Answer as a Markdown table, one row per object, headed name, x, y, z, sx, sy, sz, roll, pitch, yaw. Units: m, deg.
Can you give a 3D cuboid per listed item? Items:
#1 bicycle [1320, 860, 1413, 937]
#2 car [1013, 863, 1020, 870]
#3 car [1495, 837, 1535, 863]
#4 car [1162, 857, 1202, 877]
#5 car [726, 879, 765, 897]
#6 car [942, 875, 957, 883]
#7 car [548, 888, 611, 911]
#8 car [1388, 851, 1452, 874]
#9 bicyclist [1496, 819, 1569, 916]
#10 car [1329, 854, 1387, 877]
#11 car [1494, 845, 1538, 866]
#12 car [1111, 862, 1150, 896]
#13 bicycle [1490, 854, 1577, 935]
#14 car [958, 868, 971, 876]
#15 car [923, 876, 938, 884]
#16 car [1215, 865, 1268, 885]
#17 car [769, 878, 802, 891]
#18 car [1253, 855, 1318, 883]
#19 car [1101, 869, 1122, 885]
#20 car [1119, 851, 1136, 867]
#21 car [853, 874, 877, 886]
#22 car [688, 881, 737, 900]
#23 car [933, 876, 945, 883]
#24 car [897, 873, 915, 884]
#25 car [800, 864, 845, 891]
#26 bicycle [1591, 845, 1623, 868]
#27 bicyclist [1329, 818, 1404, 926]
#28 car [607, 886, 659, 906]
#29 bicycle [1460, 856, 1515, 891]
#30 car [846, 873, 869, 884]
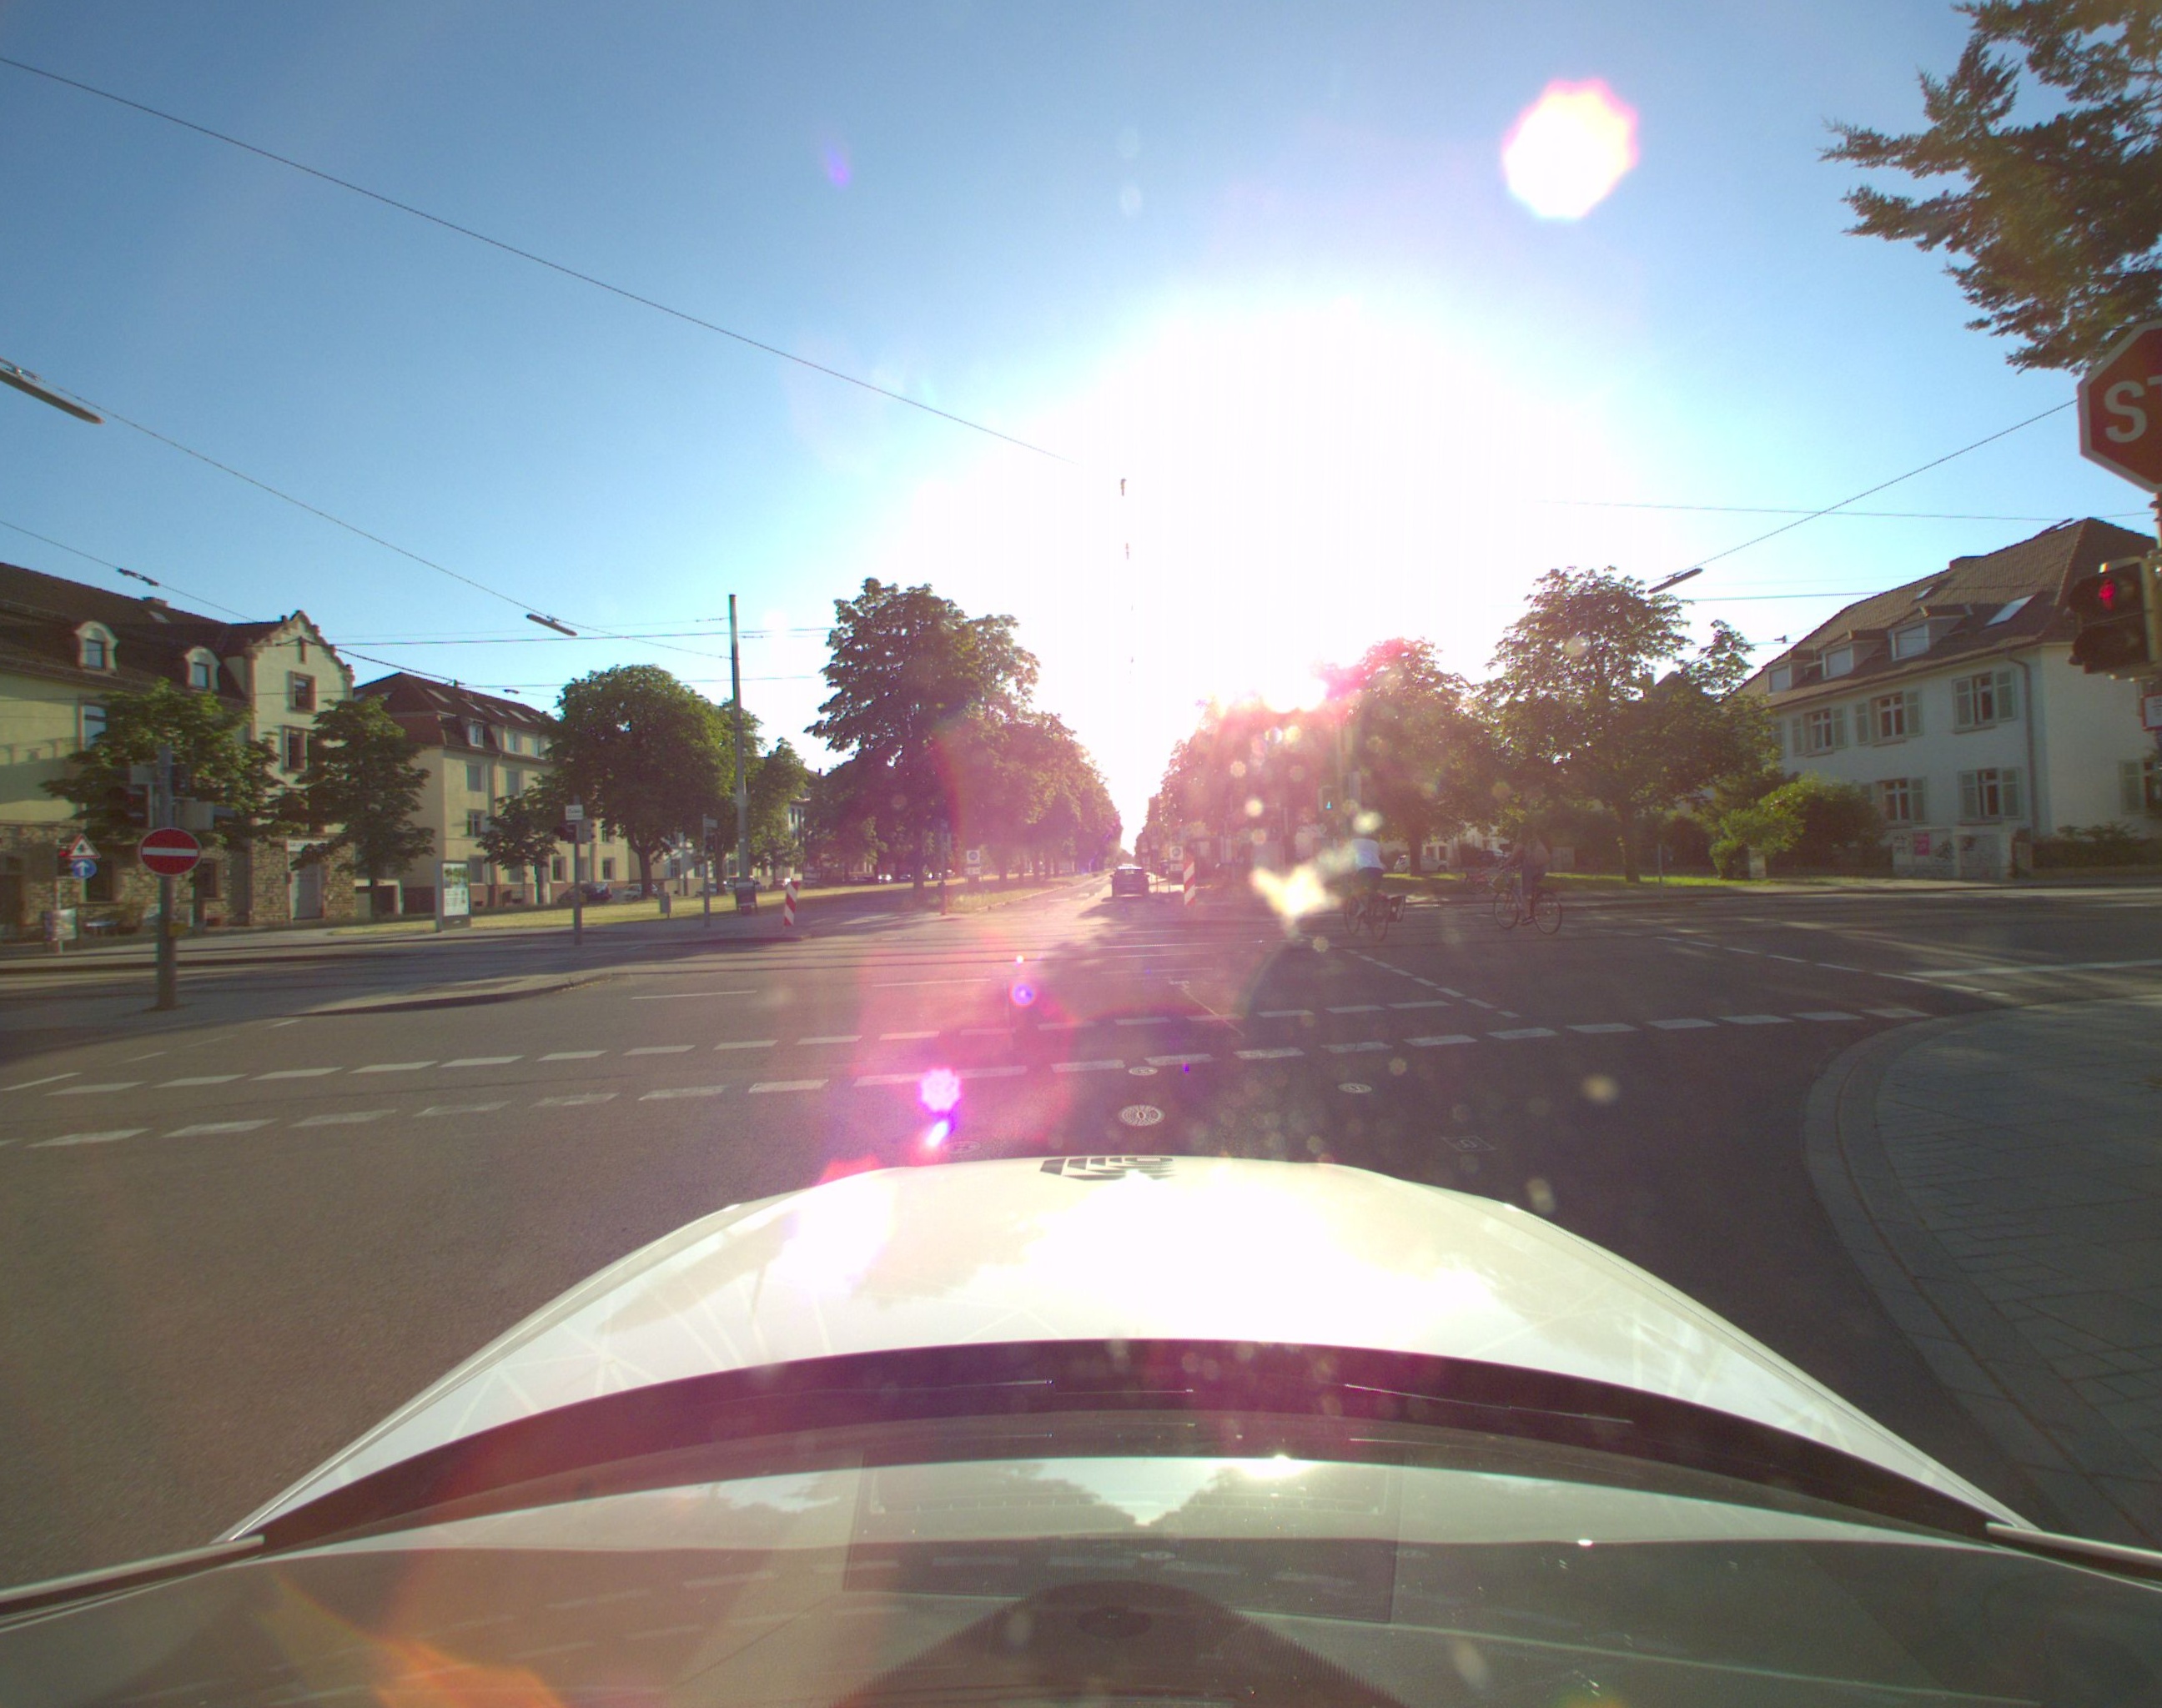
| name | x | y | z | sx | sy | sz | roll | pitch | yaw |
| --- | --- | --- | --- | --- | --- | --- | --- | --- | --- |
| bicycle | 4.715 | 0.717 | 13.598 | 0.573 | 1.184 | 1.897 | 1 | -2 | -12 |
| car | -19.914 | 3.914 | 250.942 | 1.647 | 1.939 | 3.569 | 0 | -3 | 3 |
| car | 42.721 | -0.359 | 80.158 | 4.543 | 2.337 | 2.087 | 2 | -3 | -43 |
| car | 10.785 | 1.388 | 87.476 | 3.975 | 1.823 | 1.758 | -2 | -7 | -1 |
| car | -32.443 | 3.263 | 78.957 | 1.789 | 1.554 | 4.421 | 0 | -1 | 2 |
| car | -26.654 | 5.104 | 164.959 | 2.014 | 1.659 | 3.988 | 0 | -2 | 4 |
| car | -39.259 | 3.545 | 63.919 | 1.984 | 1.736 | 4.317 | 0 | -2 | 5 |
| car | 24.394 | 0.644 | 58.664 | 3.910 | 1.524 | 1.522 | -1 | -3 | -2 |
| bicyclist | 7.478 | 0.229 | 13.531 | 0.709 | 1.562 | 0.894 | 0 | -2 | 2 |
| car | 19.767 | 0.854 | 58.187 | 3.544 | 1.516 | 1.604 | -2 | -2 | -3 |
| car | 34.416 | 0.112 | 64.362 | 1.975 | 1.552 | 4.024 | -3 | -1 | 44 |
| car | 2.438 | 1.200 | 38.930 | 1.717 | 1.511 | 4.546 | 0 | -2 | 5 |
| bicycle | 7.500 | 0.629 | 13.600 | 0.489 | 1.183 | 1.966 | 0 | 2 | 4 |
| car | -26.481 | 4.119 | 184.694 | 1.985 | 1.659 | 4.574 | -2 | -1 | 3 |
| car | -31.501 | 5.391 | 170.490 | 1.984 | 1.659 | 4.360 | 0 | -2 | 5 |
| car | 12.892 | 1.689 | 65.708 | 3.970 | 1.447 | 1.717 | -2 | -2 | 3 |
| car | -36.541 | 3.749 | 100.737 | 1.984 | 1.659 | 4.576 | 0 | -2 | 5 |
| car | 14.747 | 1.126 | 58.992 | 4.224 | 1.875 | 2.032 | -2 | -2 | 3 |
| car | 2.730 | 2.075 | 72.762 | 1.702 | 1.360 | 4.206 | 0 | -2 | 4 |
| car | 5.576 | 0.613 | 98.175 | 1.985 | 1.782 | 4.003 | 0 | -1 | 3 |
| car | -30.221 | 3.630 | 114.098 | 1.871 | 1.674 | 4.319 | 0 | -2 | 4 |
| car | -33.037 | 3.279 | 73.138 | 1.984 | 1.659 | 4.576 | 0 | -2 | 5 |
| car | -31.091 | 5.565 | 178.355 | 1.633 | 1.643 | 3.855 | 0 | -2 | 2 |
| car | -28.816 | 4.000 | 134.284 | 1.803 | 1.781 | 4.126 | 0 | -2 | 4 |
| car | -31.198 | 2.807 | 98.650 | 2.381 | 3.131 | 7.860 | 1 | -1 | 4 |
| bicycle | 29.096 | 0.171 | 45.112 | 0.448 | 1.238 | 1.953 | -2 | -1 | -1 |
| bicyclist | 4.731 | 0.298 | 13.550 | 0.815 | 1.732 | 0.890 | 1 | -2 | -13 |
| car | -38.811 | 3.602 | 70.642 | 1.984 | 1.659 | 4.005 | 0 | -2 | 5 |
| bicycle | 13.193 | 0.635 | 26.424 | 1.517 | 1.089 | 0.467 | -2 | -2 | -1 |
| car | -34.202 | 3.807 | 124.703 | 1.984 | 1.659 | 4.380 | 0 | -2 | 5 |
